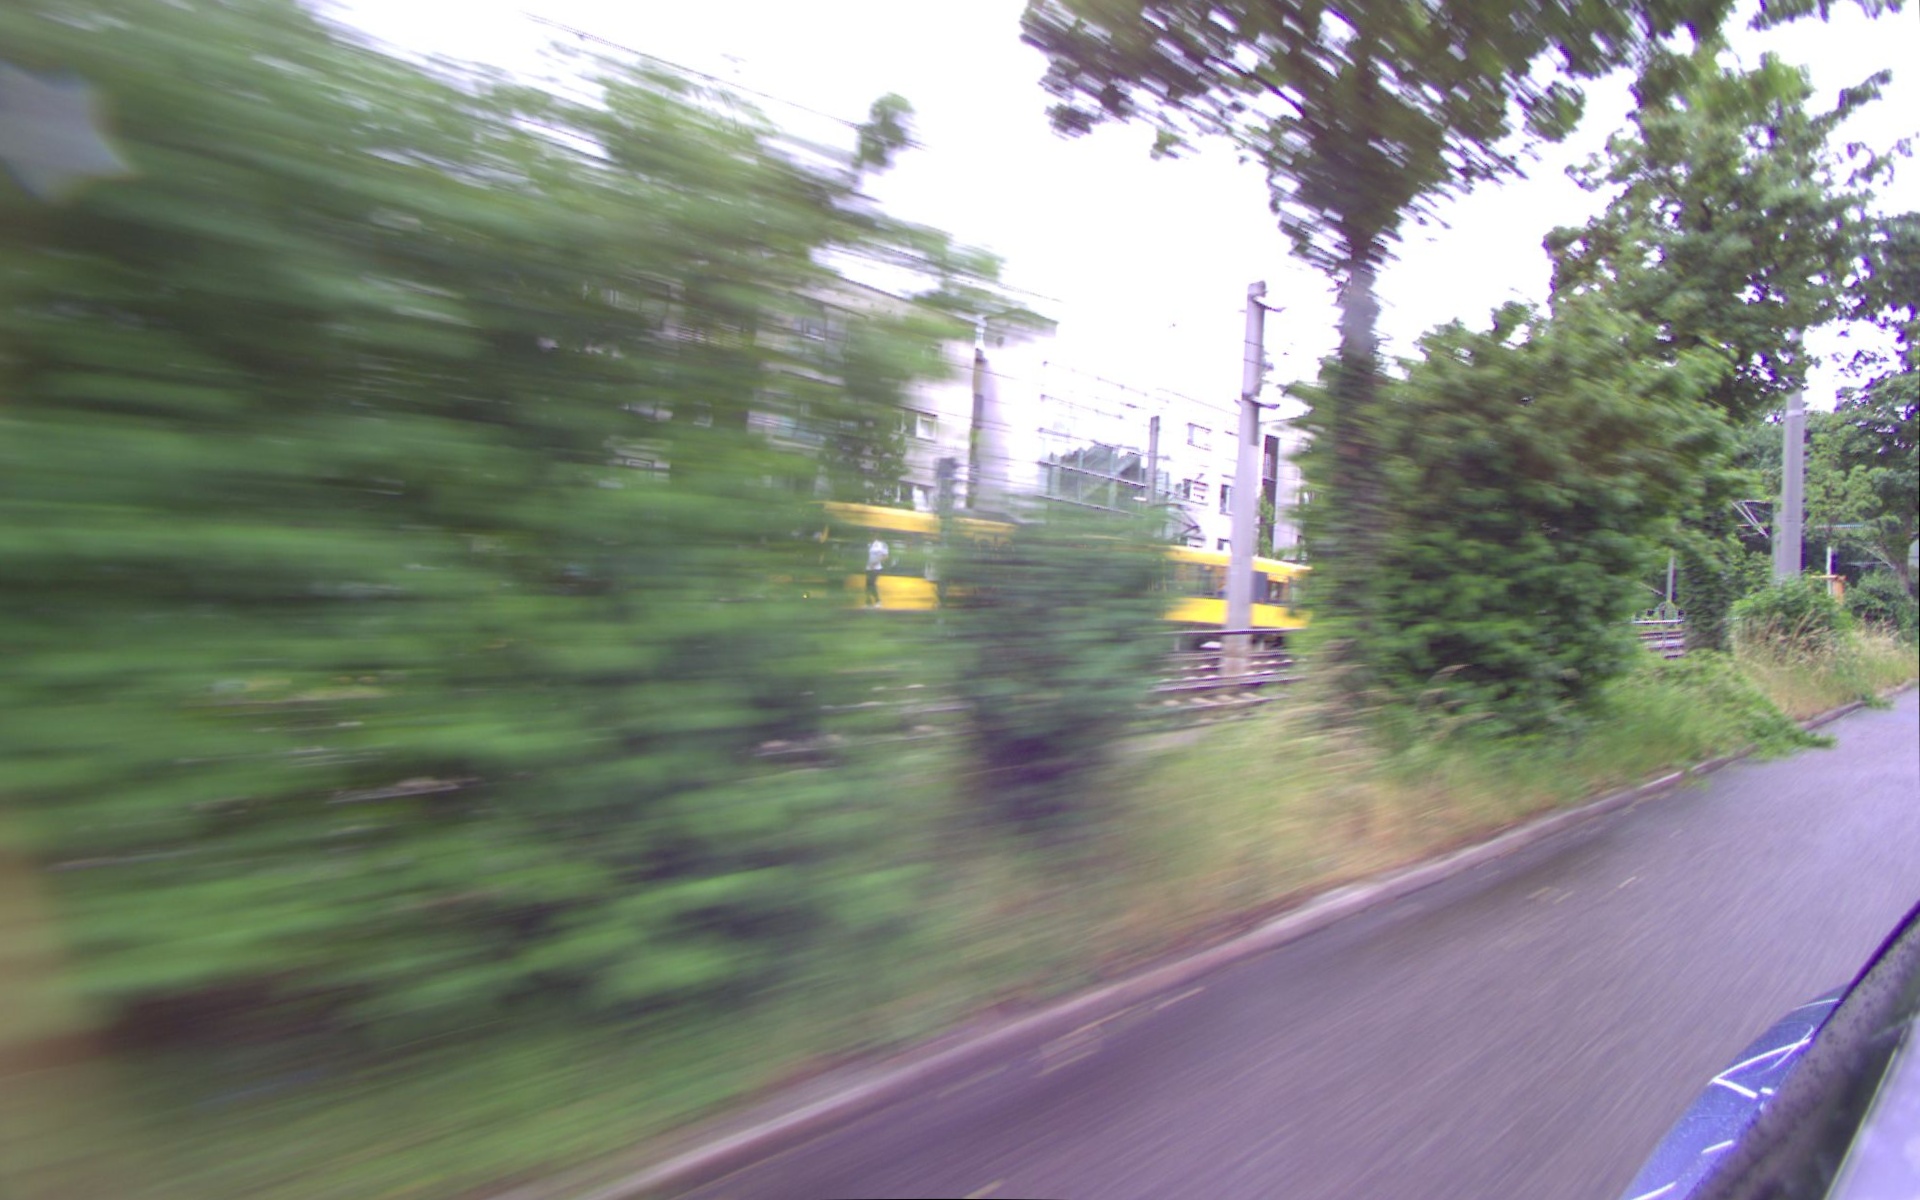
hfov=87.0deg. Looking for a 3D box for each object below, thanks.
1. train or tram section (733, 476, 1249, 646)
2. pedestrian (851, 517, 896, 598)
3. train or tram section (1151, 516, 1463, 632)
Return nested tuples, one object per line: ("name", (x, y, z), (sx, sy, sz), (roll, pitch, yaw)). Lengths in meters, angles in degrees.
("train or tram section", (2.184, -0.928, 31.065), (18.482, 3.997, 3.336), (0, 0, -41))
("pedestrian", (-2.075, -1.022, 24.331), (0.803, 1.904, 0.723), (-1, 1, -40))
("train or tram section", (15.379, -0.783, 42.568), (18.941, 3.997, 3.336), (1, 0, -41))
